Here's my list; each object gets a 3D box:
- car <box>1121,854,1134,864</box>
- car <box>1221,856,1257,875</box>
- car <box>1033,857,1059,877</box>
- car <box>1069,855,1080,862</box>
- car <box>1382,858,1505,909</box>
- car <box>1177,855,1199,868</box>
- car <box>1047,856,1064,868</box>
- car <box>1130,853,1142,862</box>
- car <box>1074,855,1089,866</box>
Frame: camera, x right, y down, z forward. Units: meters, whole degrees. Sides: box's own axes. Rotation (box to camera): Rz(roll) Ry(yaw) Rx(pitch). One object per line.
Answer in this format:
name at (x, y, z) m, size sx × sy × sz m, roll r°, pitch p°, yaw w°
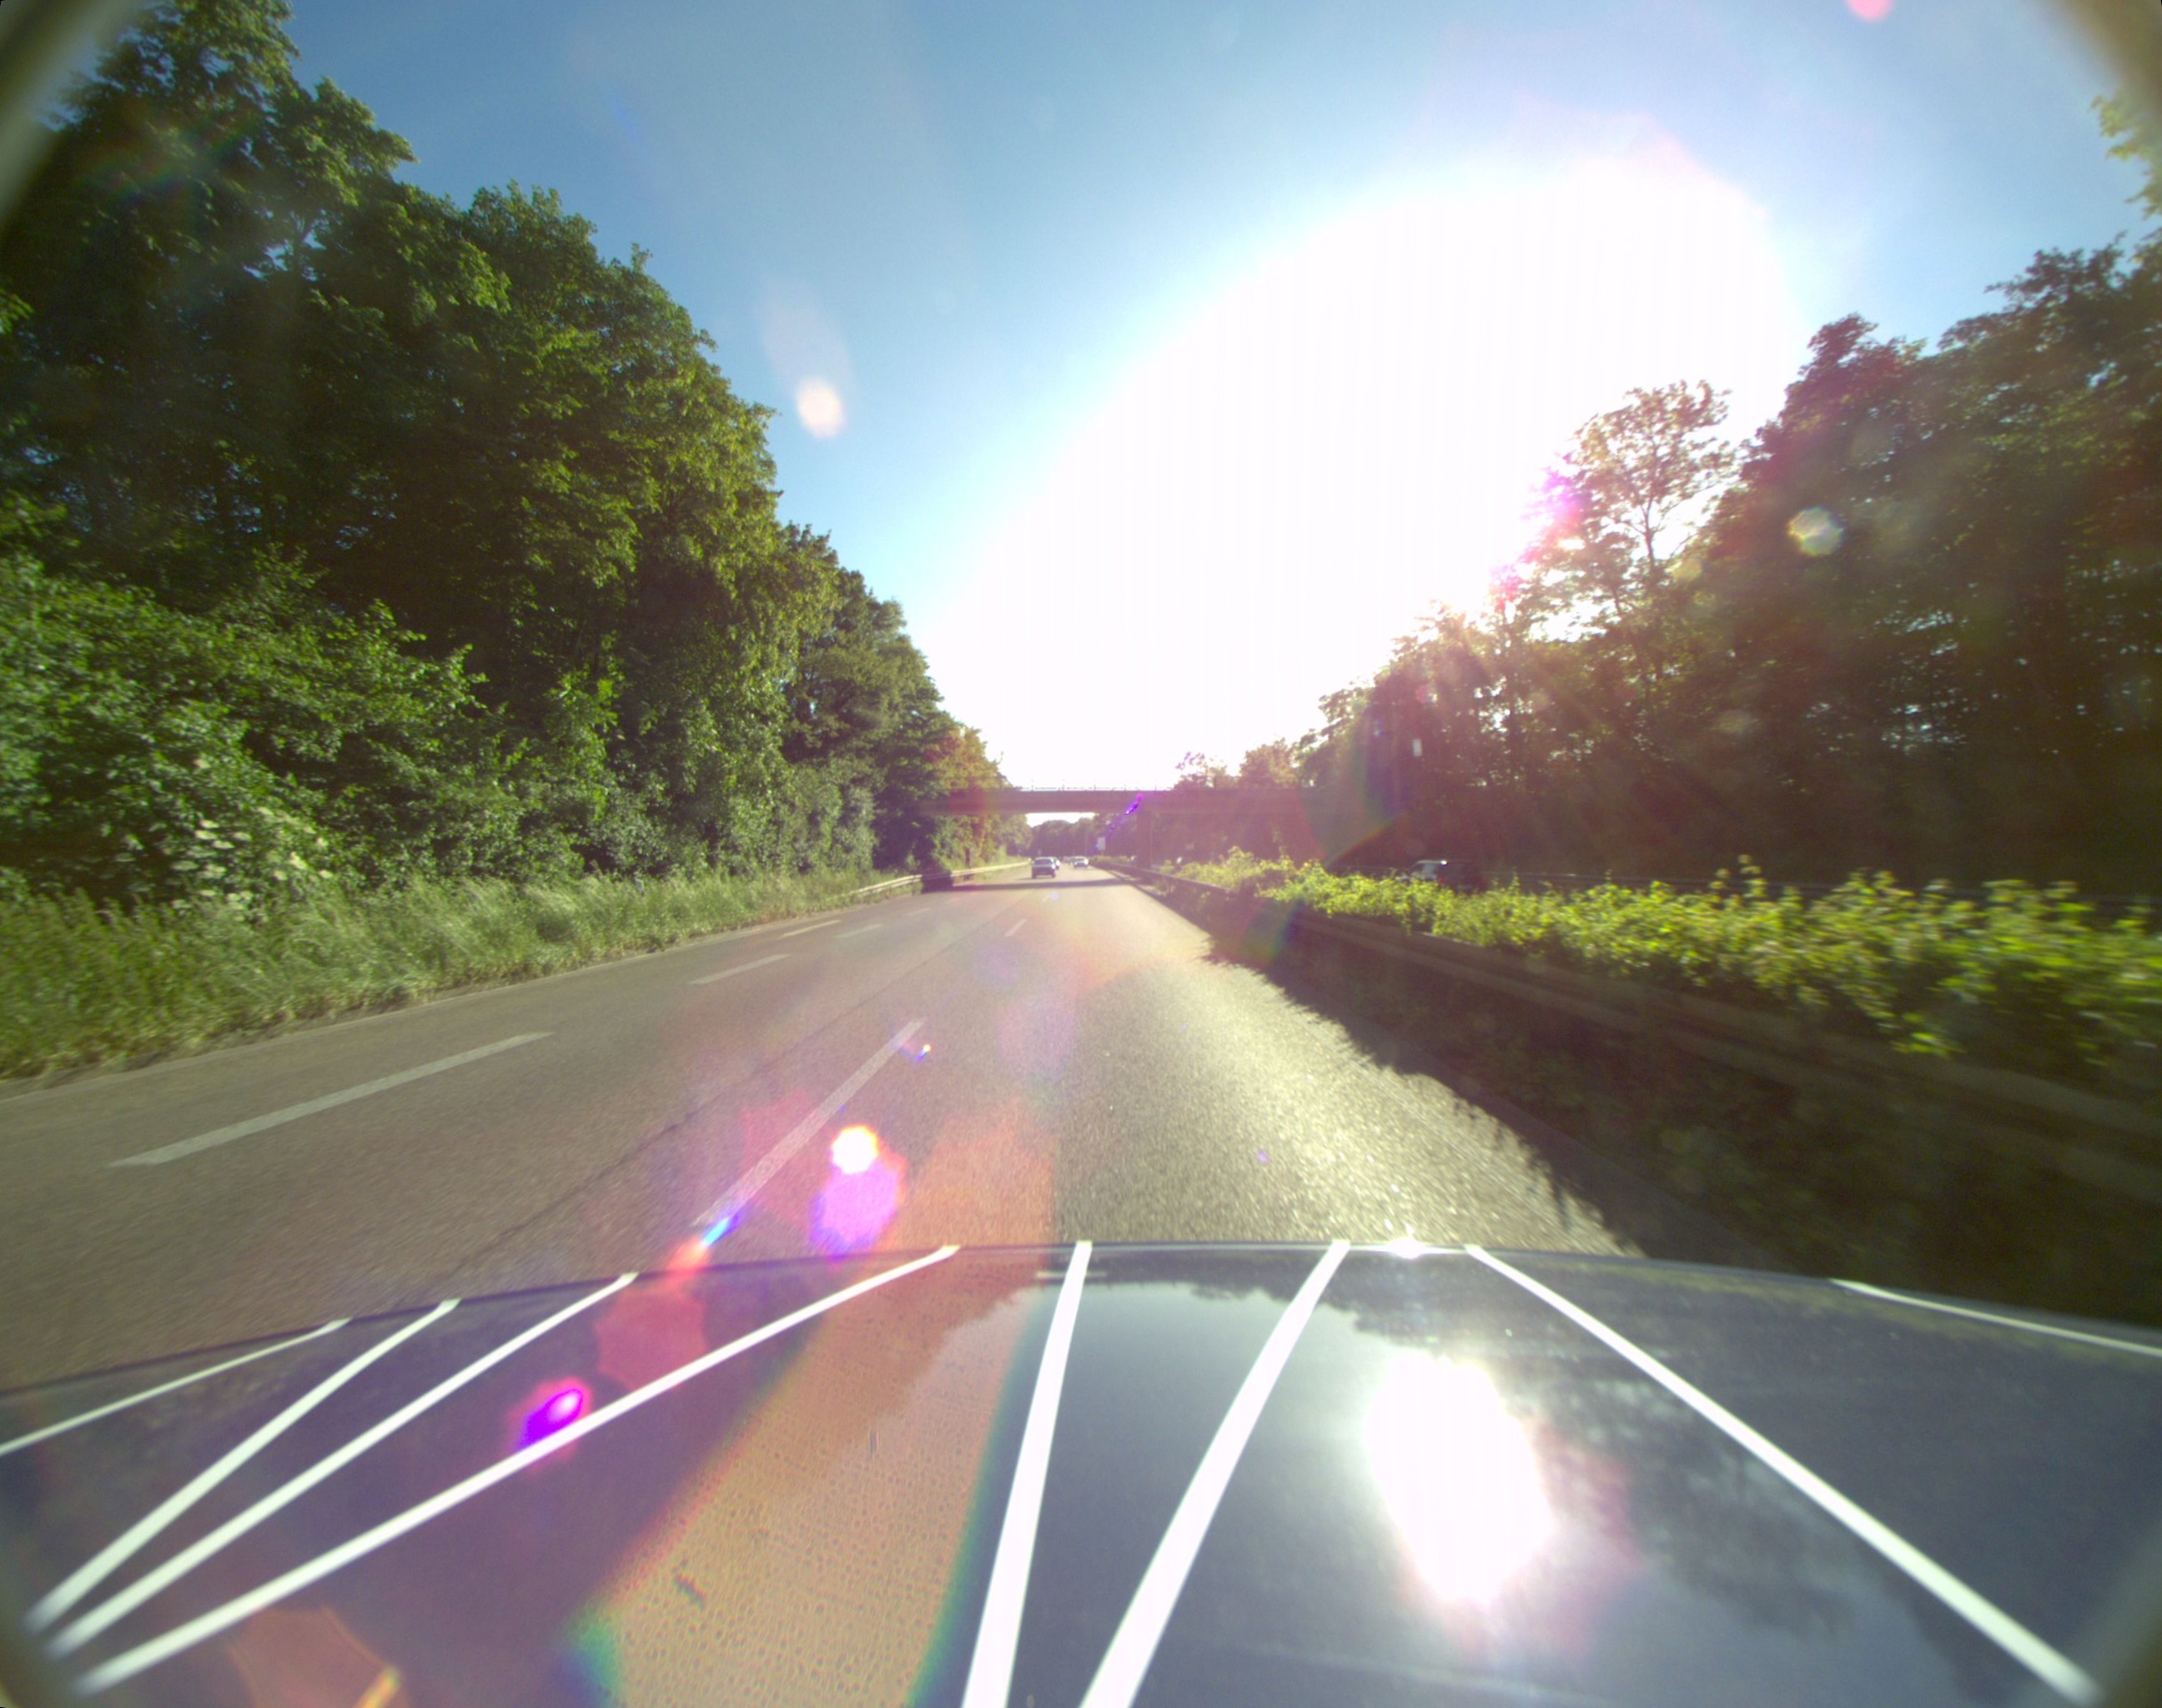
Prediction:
car at (7.886, 0.846, 129.367) m, size 1.966 × 1.714 × 4.591 m, roll 0°, pitch 0°, yaw -1°
car at (12.884, 0.885, 62.308) m, size 1.966 × 1.441 × 4.583 m, roll -2°, pitch 0°, yaw -1°
car at (-2.710, 0.977, 58.996) m, size 1.801 × 1.453 × 4.355 m, roll -2°, pitch 0°, yaw -1°
car at (-1.234, 0.868, 148.233) m, size 1.801 × 1.453 × 4.400 m, roll 0°, pitch 0°, yaw -5°
car at (11.871, 0.915, 25.245) m, size 1.966 × 1.441 × 4.326 m, roll -2°, pitch 0°, yaw -1°
car at (12.719, 0.830, 90.688) m, size 1.966 × 1.441 × 4.706 m, roll -1°, pitch 0°, yaw 0°
car at (-3.242, 0.977, 94.889) m, size 1.802 × 1.453 × 4.353 m, roll -1°, pitch 0°, yaw -6°
car at (10.863, 0.732, 150.554) m, size 1.965 × 1.649 × 5.040 m, roll -1°, pitch 0°, yaw 0°
car at (0.085, 0.851, 102.094) m, size 1.904 × 1.453 × 4.355 m, roll -1°, pitch 0°, yaw -1°
